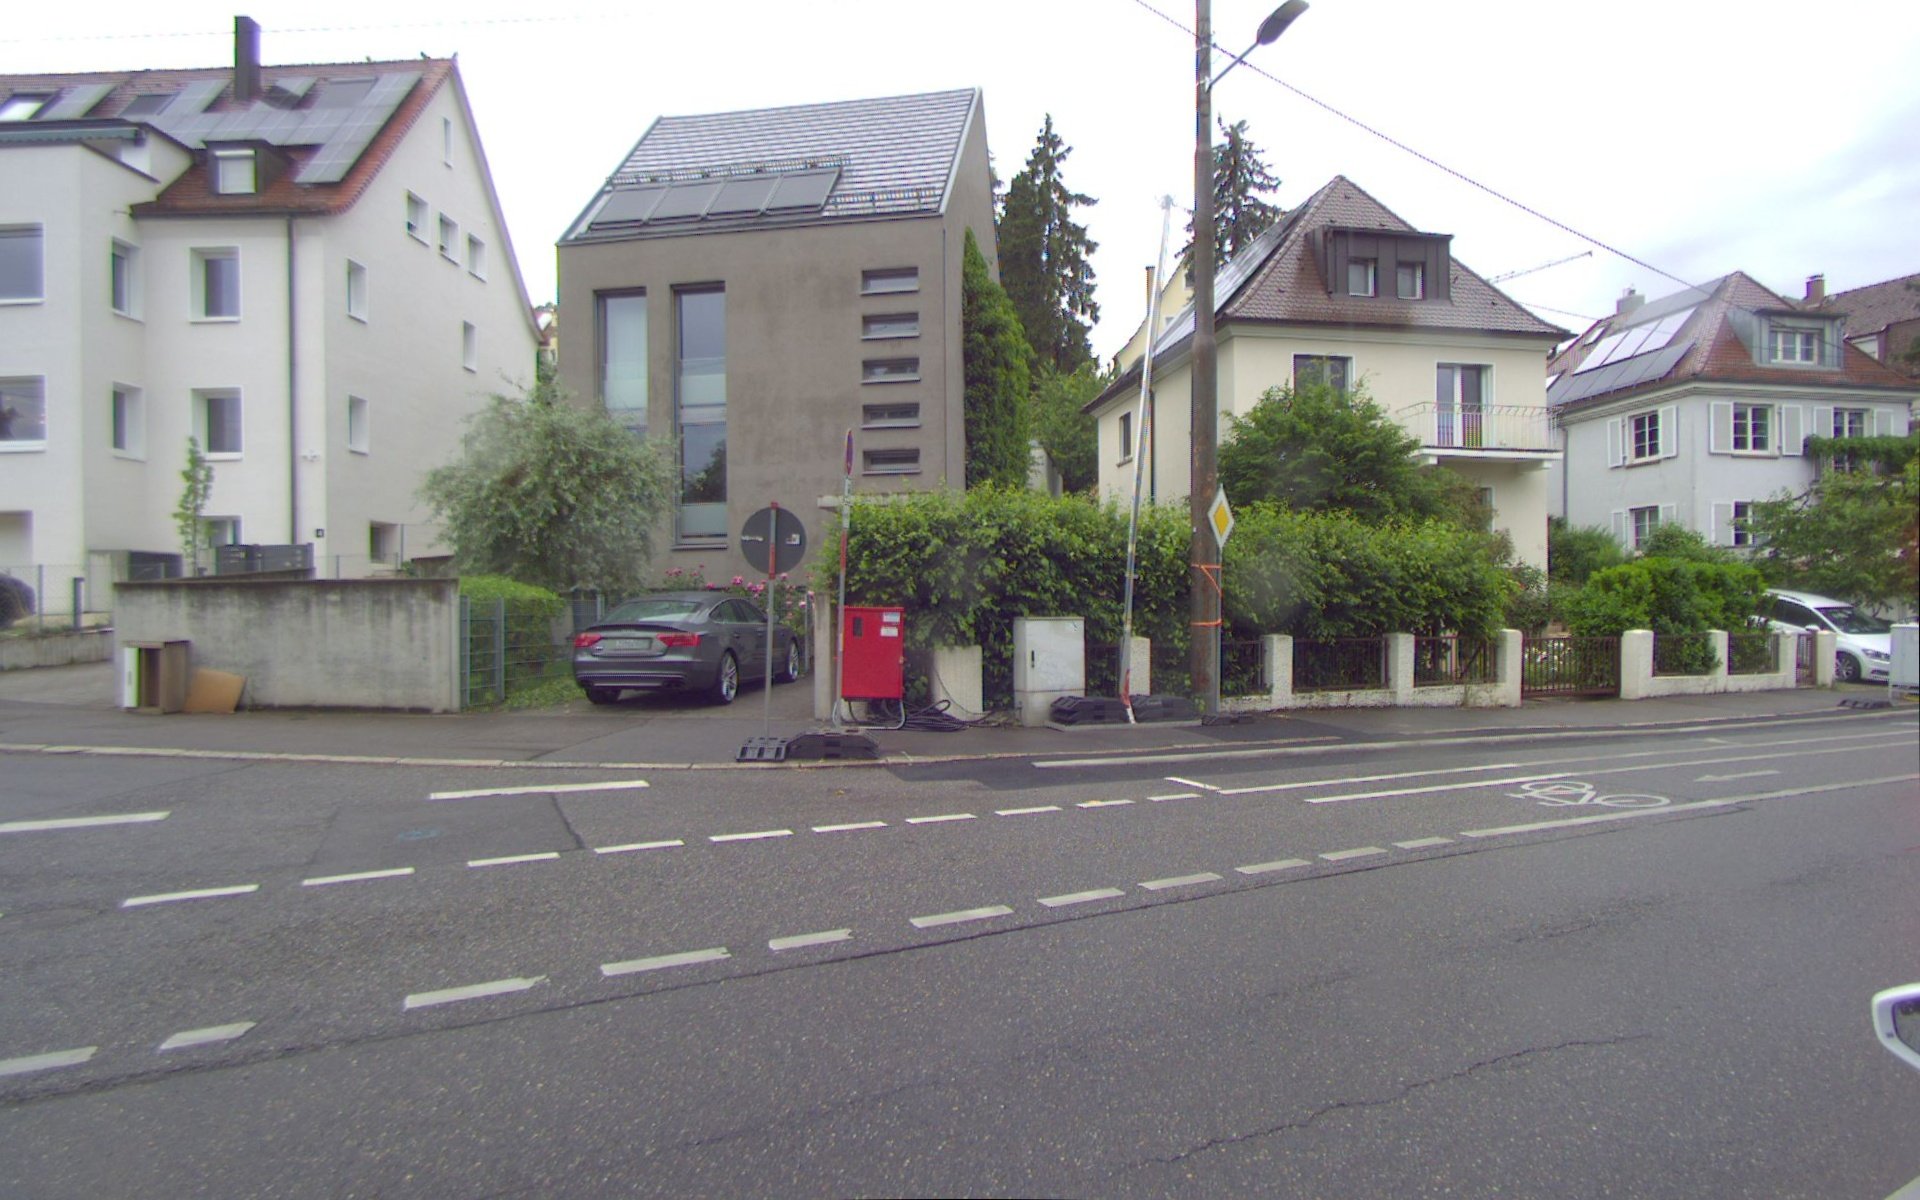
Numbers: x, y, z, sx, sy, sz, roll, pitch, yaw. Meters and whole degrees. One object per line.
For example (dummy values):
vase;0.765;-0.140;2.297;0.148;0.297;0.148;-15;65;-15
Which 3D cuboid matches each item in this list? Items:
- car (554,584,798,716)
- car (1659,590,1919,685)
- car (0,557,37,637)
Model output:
car;-3.613;0.554;13.584;1.740;1.506;4.002;0;1;7
car;19.591;0.808;23.921;1.870;2.033;4.628;1;0;-18
car;-16.736;0.038;15.176;1.576;1.298;4.008;2;4;6
